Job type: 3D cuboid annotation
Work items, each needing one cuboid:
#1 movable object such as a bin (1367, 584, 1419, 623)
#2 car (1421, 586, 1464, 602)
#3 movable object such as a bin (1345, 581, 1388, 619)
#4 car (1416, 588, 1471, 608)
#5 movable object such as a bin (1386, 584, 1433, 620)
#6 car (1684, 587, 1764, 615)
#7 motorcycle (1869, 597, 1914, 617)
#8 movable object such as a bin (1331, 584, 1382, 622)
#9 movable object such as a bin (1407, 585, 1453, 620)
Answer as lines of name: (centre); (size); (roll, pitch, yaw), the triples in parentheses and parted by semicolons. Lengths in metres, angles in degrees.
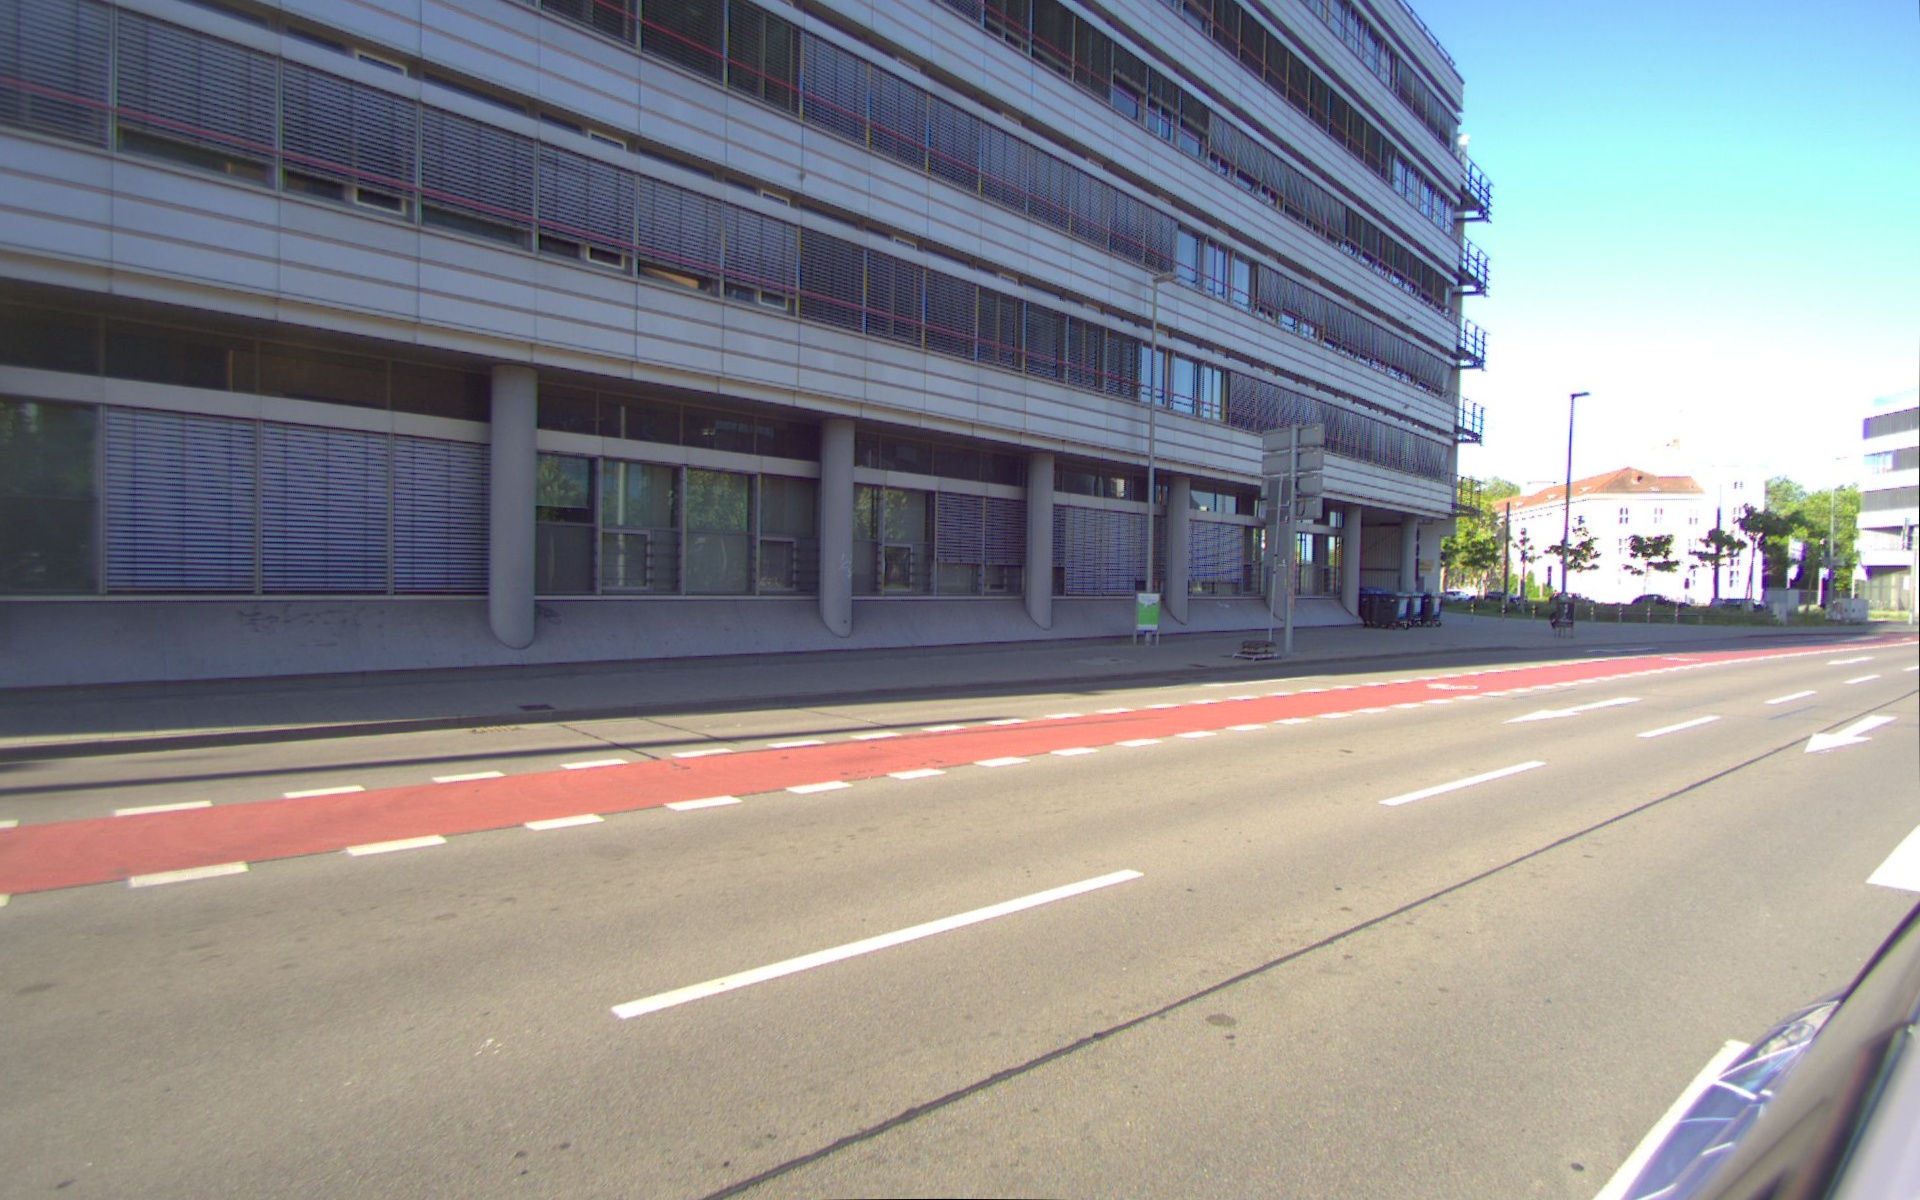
movable object such as a bin: (15.350, 0.112, 35.884); (1.153, 1.317, 1.327); (0, 2, -40)
car: (49.286, -0.594, 103.294); (3.773, 1.551, 1.720); (2, 2, 32)
movable object such as a bin: (15.503, -0.008, 38.610); (1.088, 1.391, 1.109); (0, 1, -40)
car: (39.963, -0.151, 83.757); (1.705, 1.551, 3.807); (0, 2, -28)
movable object such as a bin: (17.128, 0.071, 38.548); (1.305, 1.317, 1.173); (0, 2, -40)
car: (45.849, 0.045, 60.826); (1.706, 1.551, 3.806); (1, 1, -4)
motorcycle: (66.328, 0.490, 72.119); (2.243, 1.236, 0.811); (3, 2, 38)
movable object such as a bin: (14.456, 0.104, 36.913); (1.153, 1.317, 1.327); (0, 2, -40)
movable object such as a bin: (18.231, 0.087, 39.288); (1.305, 1.317, 1.173); (0, 2, -40)
